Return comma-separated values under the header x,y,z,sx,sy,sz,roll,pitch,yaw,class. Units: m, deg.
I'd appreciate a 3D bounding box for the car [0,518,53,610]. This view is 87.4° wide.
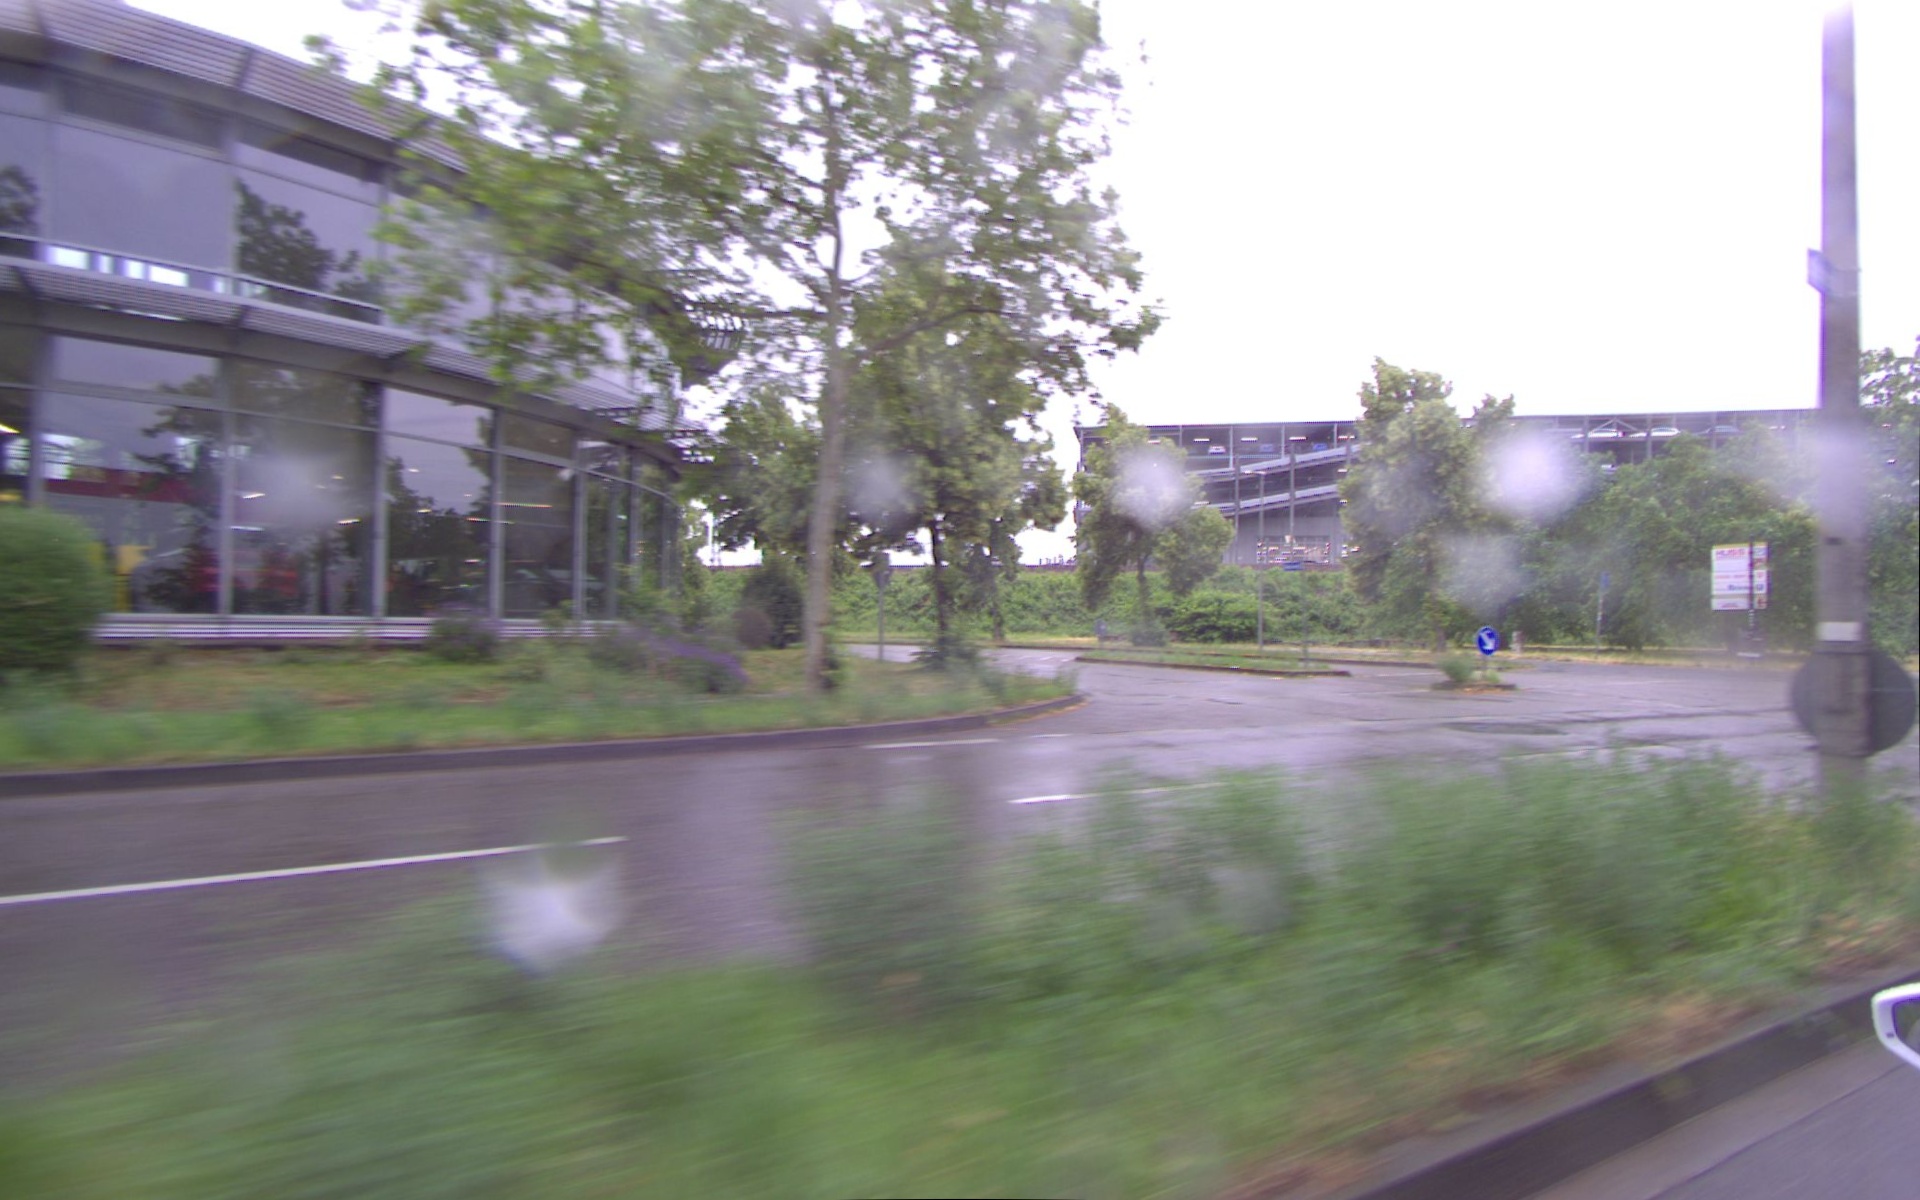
x,y,z,sx,sy,sz,roll,pitch,yaw,class
-17.781,-0.630,16.408,4.038,1.495,1.782,1,-1,-9,car
